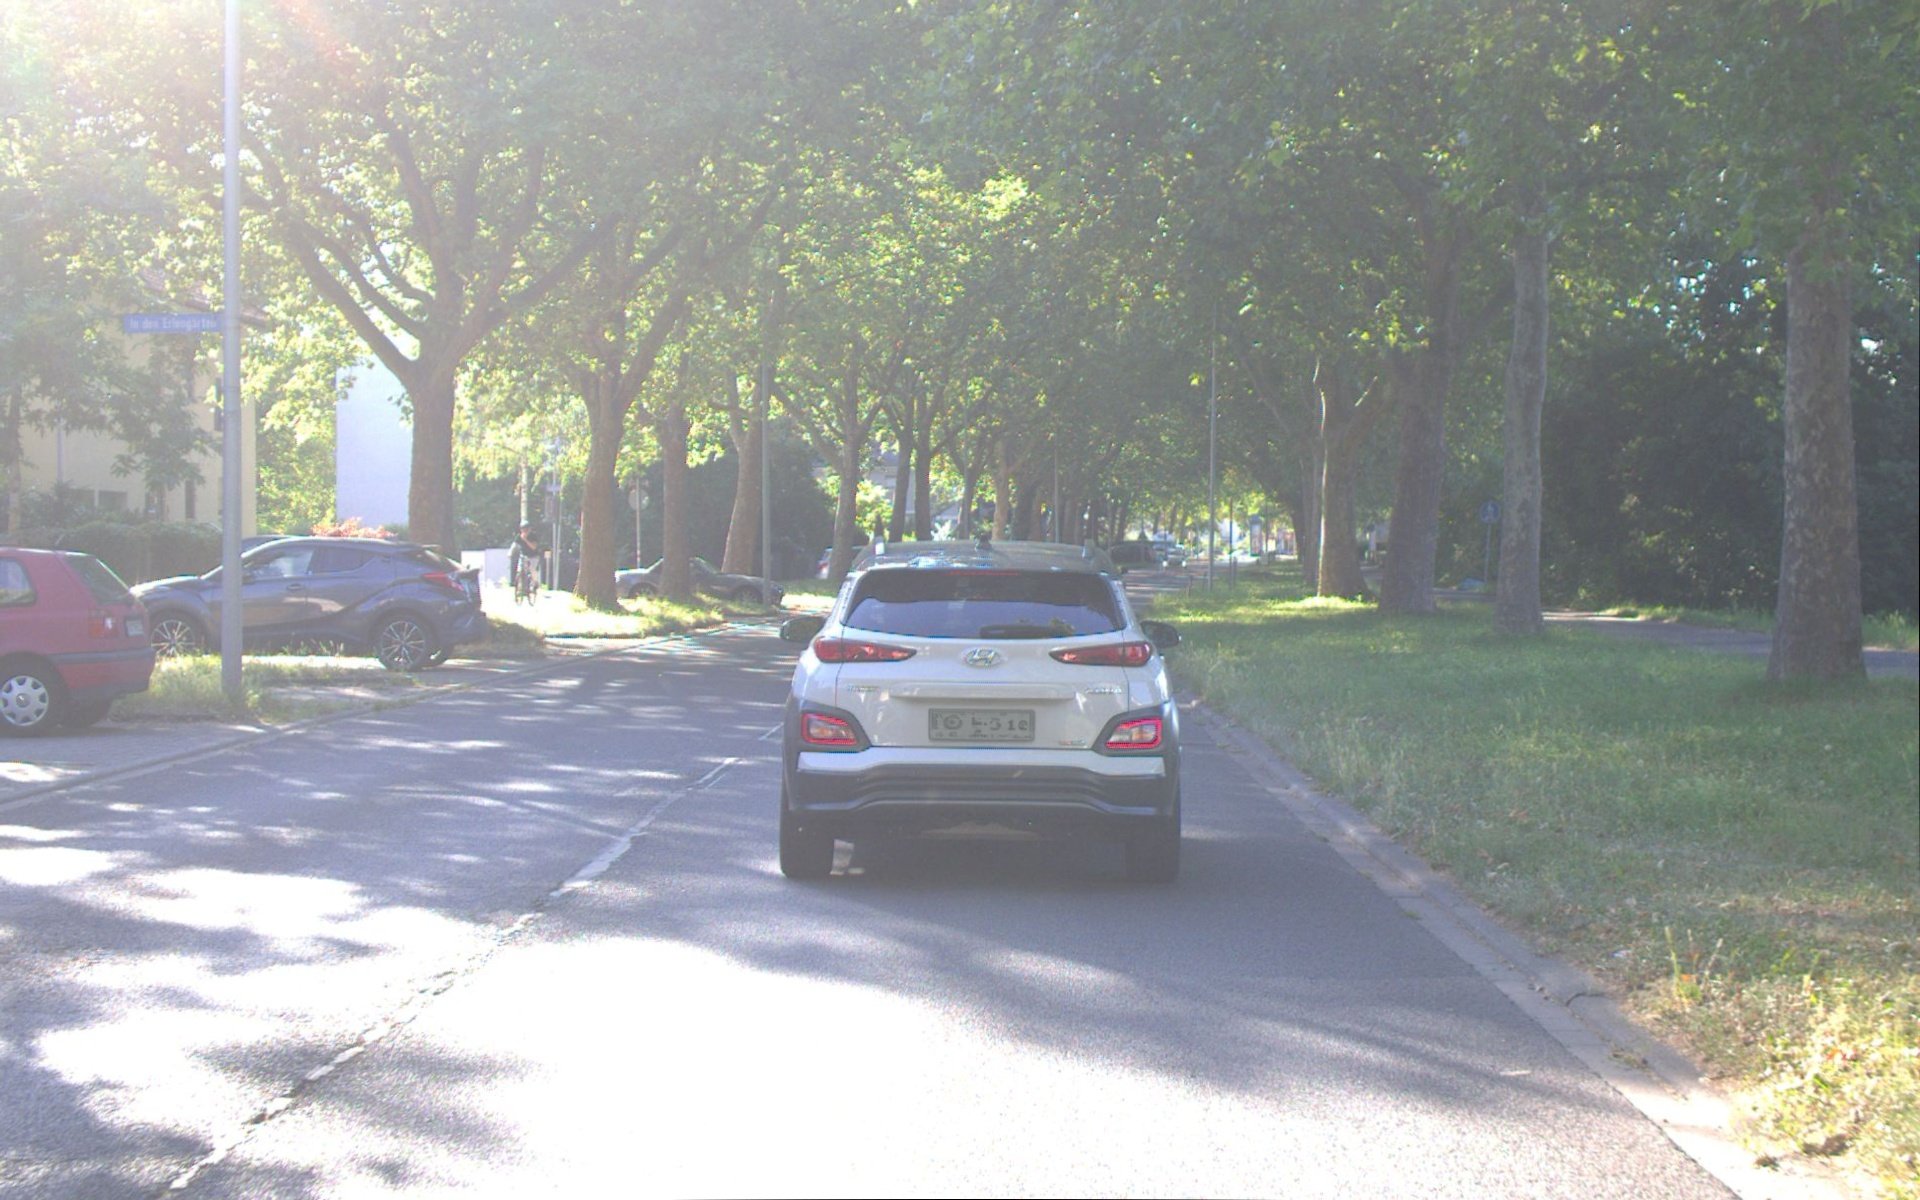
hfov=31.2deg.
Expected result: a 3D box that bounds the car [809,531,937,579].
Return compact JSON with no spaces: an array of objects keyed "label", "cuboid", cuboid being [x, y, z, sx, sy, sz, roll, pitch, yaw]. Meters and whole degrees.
[{"label":"car","cuboid":[-2.916,-1.518,115.901,4.183,1.579,2.000,1,1,1]}]

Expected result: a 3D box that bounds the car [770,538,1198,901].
[{"label":"car","cuboid":[0.030,0.502,16.926,1.835,1.550,4.000,1,0,-2]}]

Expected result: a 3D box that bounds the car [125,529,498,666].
[{"label":"car","cuboid":[-7.512,-0.046,40.069,3.988,1.513,1.817,1,1,0]}]

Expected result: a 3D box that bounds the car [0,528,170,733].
[{"label":"car","cuboid":[-8.149,0.220,26.235,3.871,1.513,1.665,0,1,-2]}]

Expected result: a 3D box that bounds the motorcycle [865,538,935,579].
[{"label":"motorcycle","cuboid":[-2.059,-1.439,118.374,2.385,1.383,0.648,0,1,0]}]

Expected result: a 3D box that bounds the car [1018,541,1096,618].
[{"label":"car","cuboid":[2.175,-0.480,77.822,1.676,1.690,3.745,1,1,1]}]

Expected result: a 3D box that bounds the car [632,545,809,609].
[{"label":"car","cuboid":[-5.463,-0.535,78.632,3.826,1.312,1.790,2,1,3]}]

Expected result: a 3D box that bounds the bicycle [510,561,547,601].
[{"label":"bicycle","cuboid":[-9.695,-0.433,77.318,0.470,0.877,2.156,0,1,3]}]

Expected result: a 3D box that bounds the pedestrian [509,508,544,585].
[{"label":"pedestrian","cuboid":[-9.747,-1.197,77.337,0.617,1.710,1.065,0,1,3]}]
